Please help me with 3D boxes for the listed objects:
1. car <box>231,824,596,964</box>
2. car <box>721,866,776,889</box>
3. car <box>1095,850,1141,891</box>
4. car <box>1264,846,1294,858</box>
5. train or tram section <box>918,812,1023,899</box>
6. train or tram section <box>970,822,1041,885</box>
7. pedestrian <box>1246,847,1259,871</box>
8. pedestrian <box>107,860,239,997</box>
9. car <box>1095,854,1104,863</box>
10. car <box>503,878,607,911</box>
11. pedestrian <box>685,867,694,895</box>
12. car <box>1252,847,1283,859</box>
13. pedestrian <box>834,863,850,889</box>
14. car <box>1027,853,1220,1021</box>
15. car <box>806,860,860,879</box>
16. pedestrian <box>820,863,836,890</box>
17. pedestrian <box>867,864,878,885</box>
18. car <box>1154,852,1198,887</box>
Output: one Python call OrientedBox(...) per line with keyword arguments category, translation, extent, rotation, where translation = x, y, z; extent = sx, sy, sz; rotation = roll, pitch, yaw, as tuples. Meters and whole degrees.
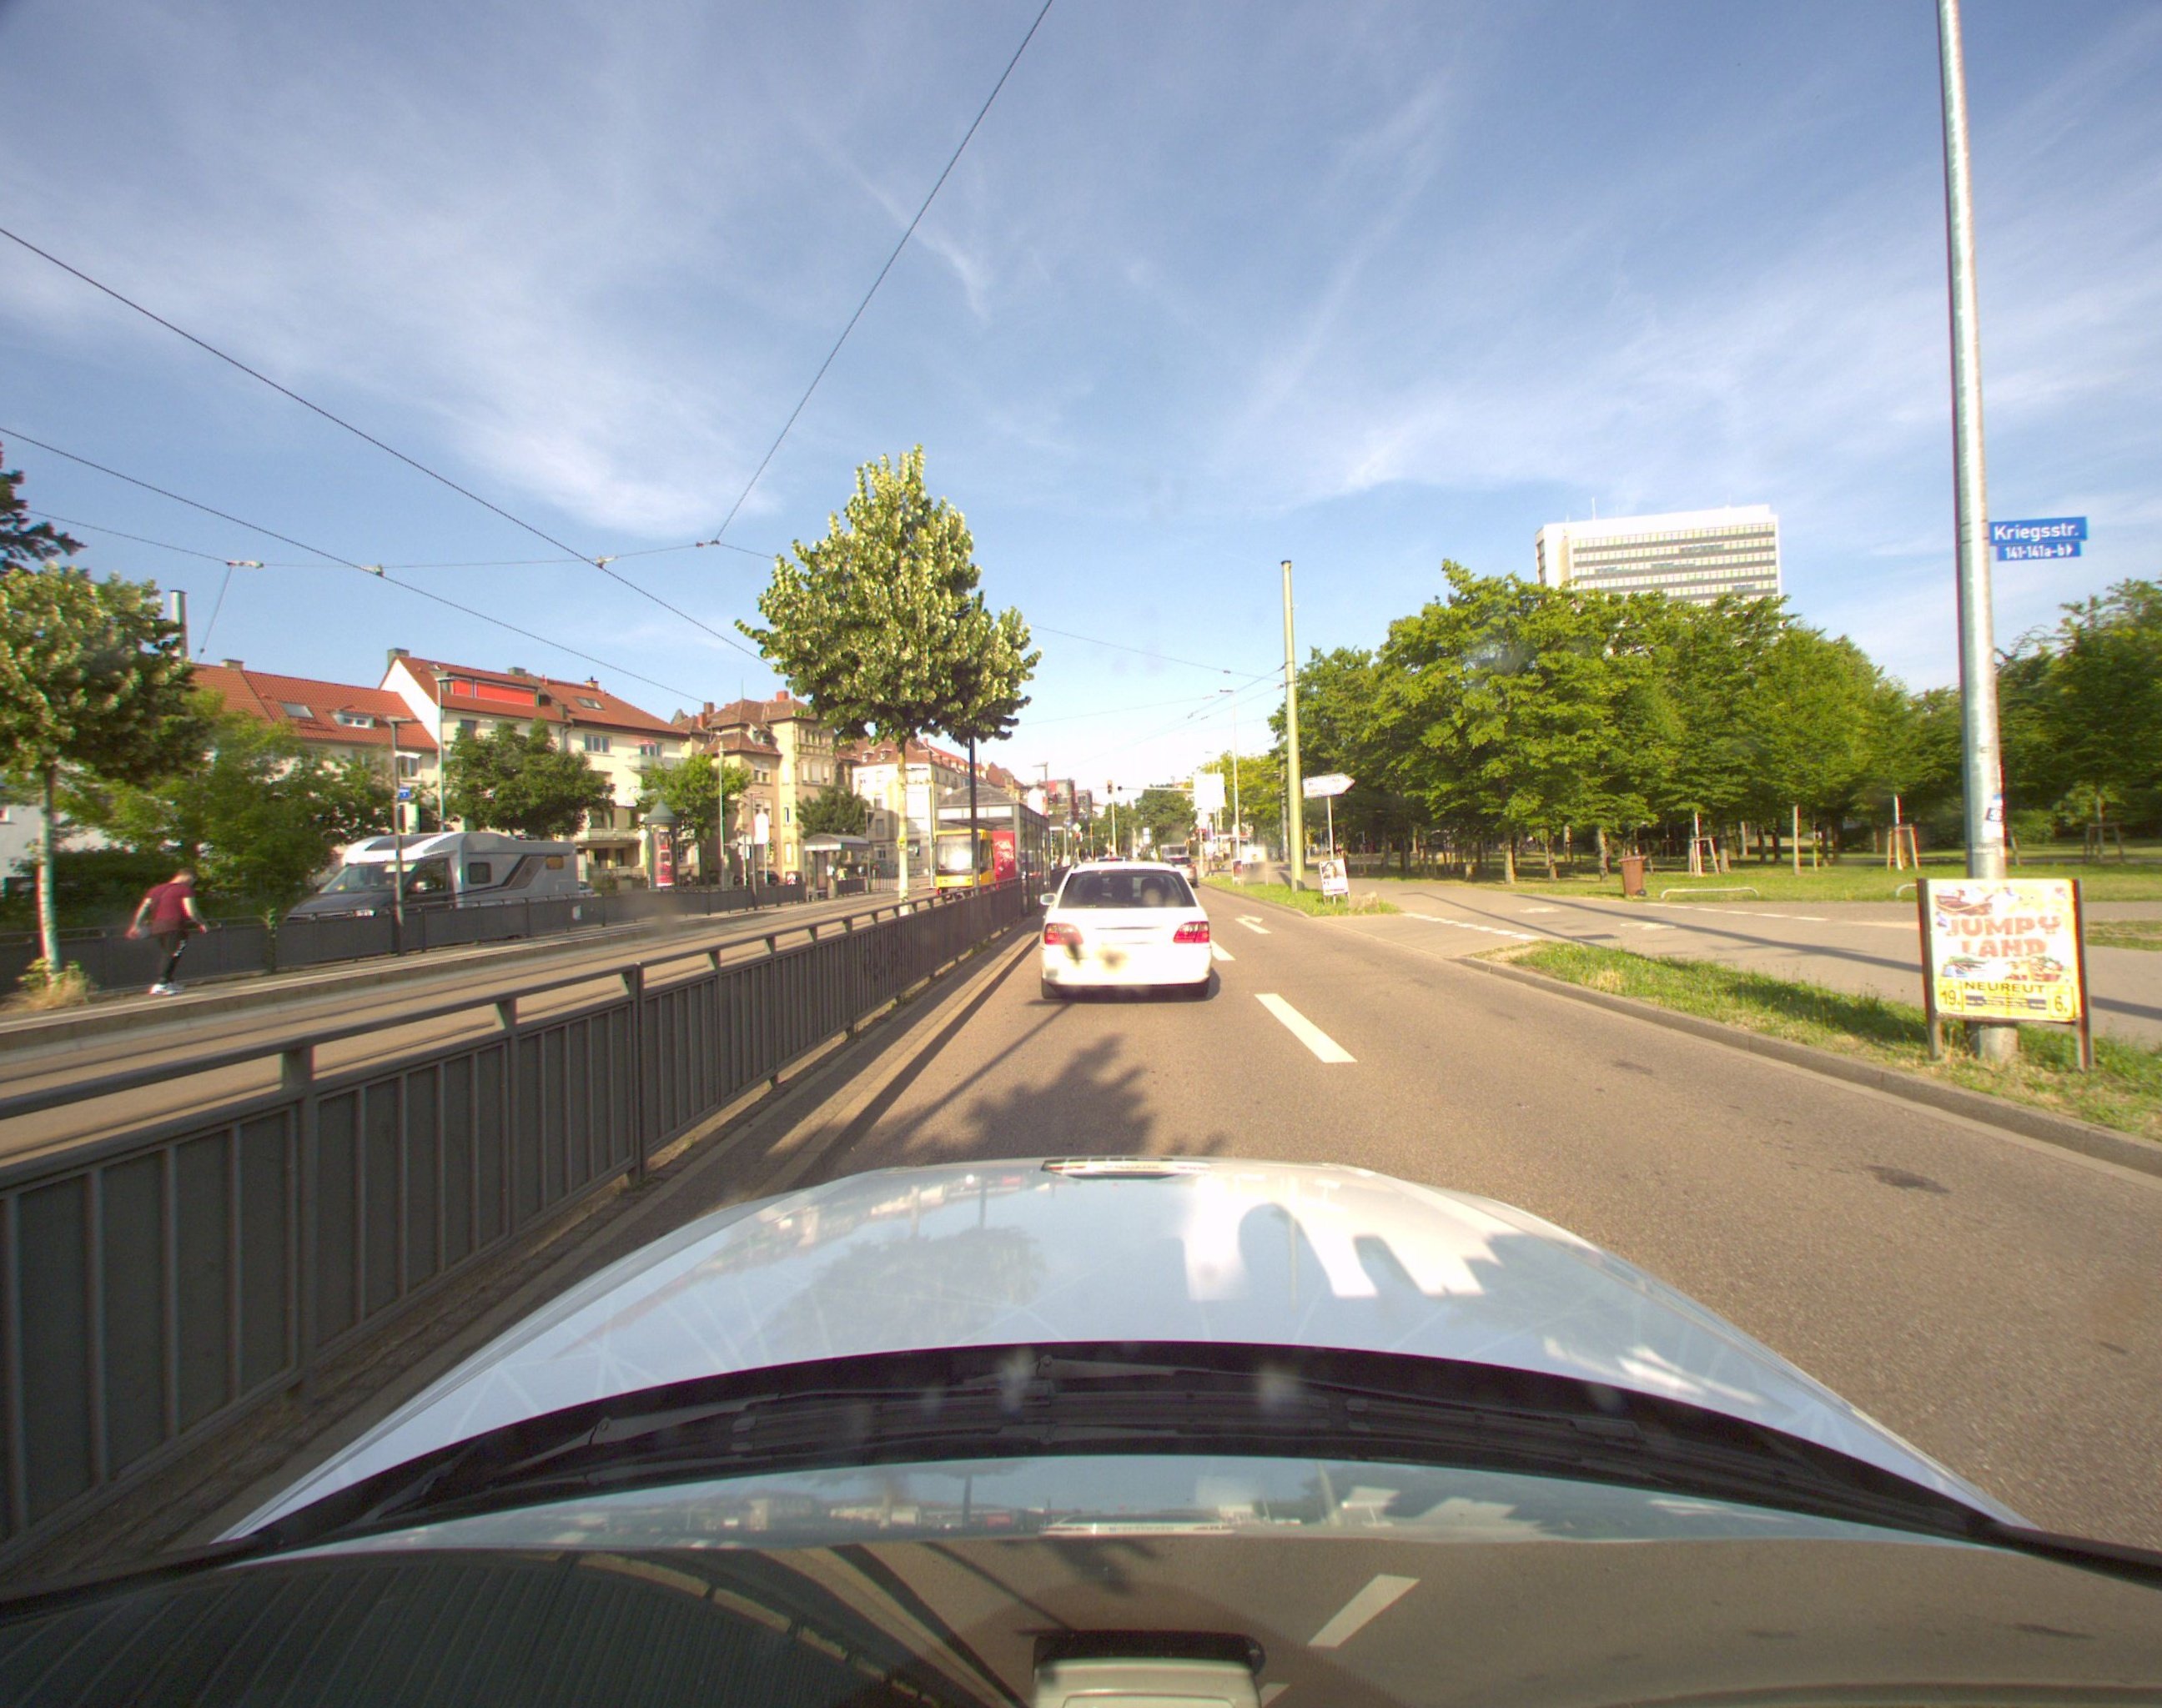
OrientedBox(category="car", translation=(-15.582, 0.782, 20.037), extent=(2.587, 2.735, 7.471), rotation=(-2, 0, 2))
OrientedBox(category="car", translation=(-28.131, 1.985, 68.967), extent=(3.954, 1.750, 2.010), rotation=(-2, 0, 19))
OrientedBox(category="car", translation=(1.736, 0.693, 37.032), extent=(1.778, 1.690, 4.007), rotation=(-2, 0, 6))
OrientedBox(category="car", translation=(30.942, -0.247, 127.248), extent=(4.006, 1.651, 1.984), rotation=(-2, 0, -25))
OrientedBox(category="train or tram section", translation=(-4.947, 0.031, 39.645), extent=(2.839, 3.479, 13.205), rotation=(-1, 0, 2))
OrientedBox(category="train or tram section", translation=(-4.585, -0.030, 52.561), extent=(2.839, 3.479, 13.205), rotation=(-2, 0, 2))
OrientedBox(category="pedestrian", translation=(12.335, 0.347, 58.547), extent=(0.881, 1.652, 0.748), rotation=(-2, 0, 10))
OrientedBox(category="pedestrian", translation=(-12.129, 0.967, 10.903), extent=(0.832, 1.733, 0.773), rotation=(-2, 0, 2))
OrientedBox(category="car", translation=(4.383, 0.986, 191.360), extent=(1.986, 2.013, 4.001), rotation=(-3, 0, 2))
OrientedBox(category="car", translation=(-25.027, 1.918, 38.791), extent=(3.956, 1.398, 2.009), rotation=(-2, 0, 16))
OrientedBox(category="pedestrian", translation=(-28.980, 2.002, 60.271), extent=(0.379, 2.013, 0.410), rotation=(-2, 0, 21))
OrientedBox(category="car", translation=(27.519, -0.130, 120.173), extent=(3.949, 1.651, 2.012), rotation=(-3, 0, 27))
OrientedBox(category="pedestrian", translation=(-16.165, 1.491, 55.164), extent=(0.886, 1.753, 0.743), rotation=(-2, 0, -9))
OrientedBox(category="car", translation=(0.419, 0.785, 9.668), extent=(1.752, 1.503, 4.000), rotation=(-3, 0, 0))
OrientedBox(category="car", translation=(-23.524, 1.412, 77.464), extent=(2.183, 1.628, 4.744), rotation=(-2, 0, 25))
OrientedBox(category="pedestrian", translation=(-17.077, 1.528, 55.006), extent=(0.886, 1.753, 0.743), rotation=(-2, 0, -9))
OrientedBox(category="pedestrian", translation=(-17.971, 1.791, 70.234), extent=(0.662, 1.753, 0.747), rotation=(-2, 0, 6))
OrientedBox(category="car", translation=(4.717, 0.725, 40.365), extent=(2.023, 1.605, 4.007), rotation=(-2, 0, 6))
